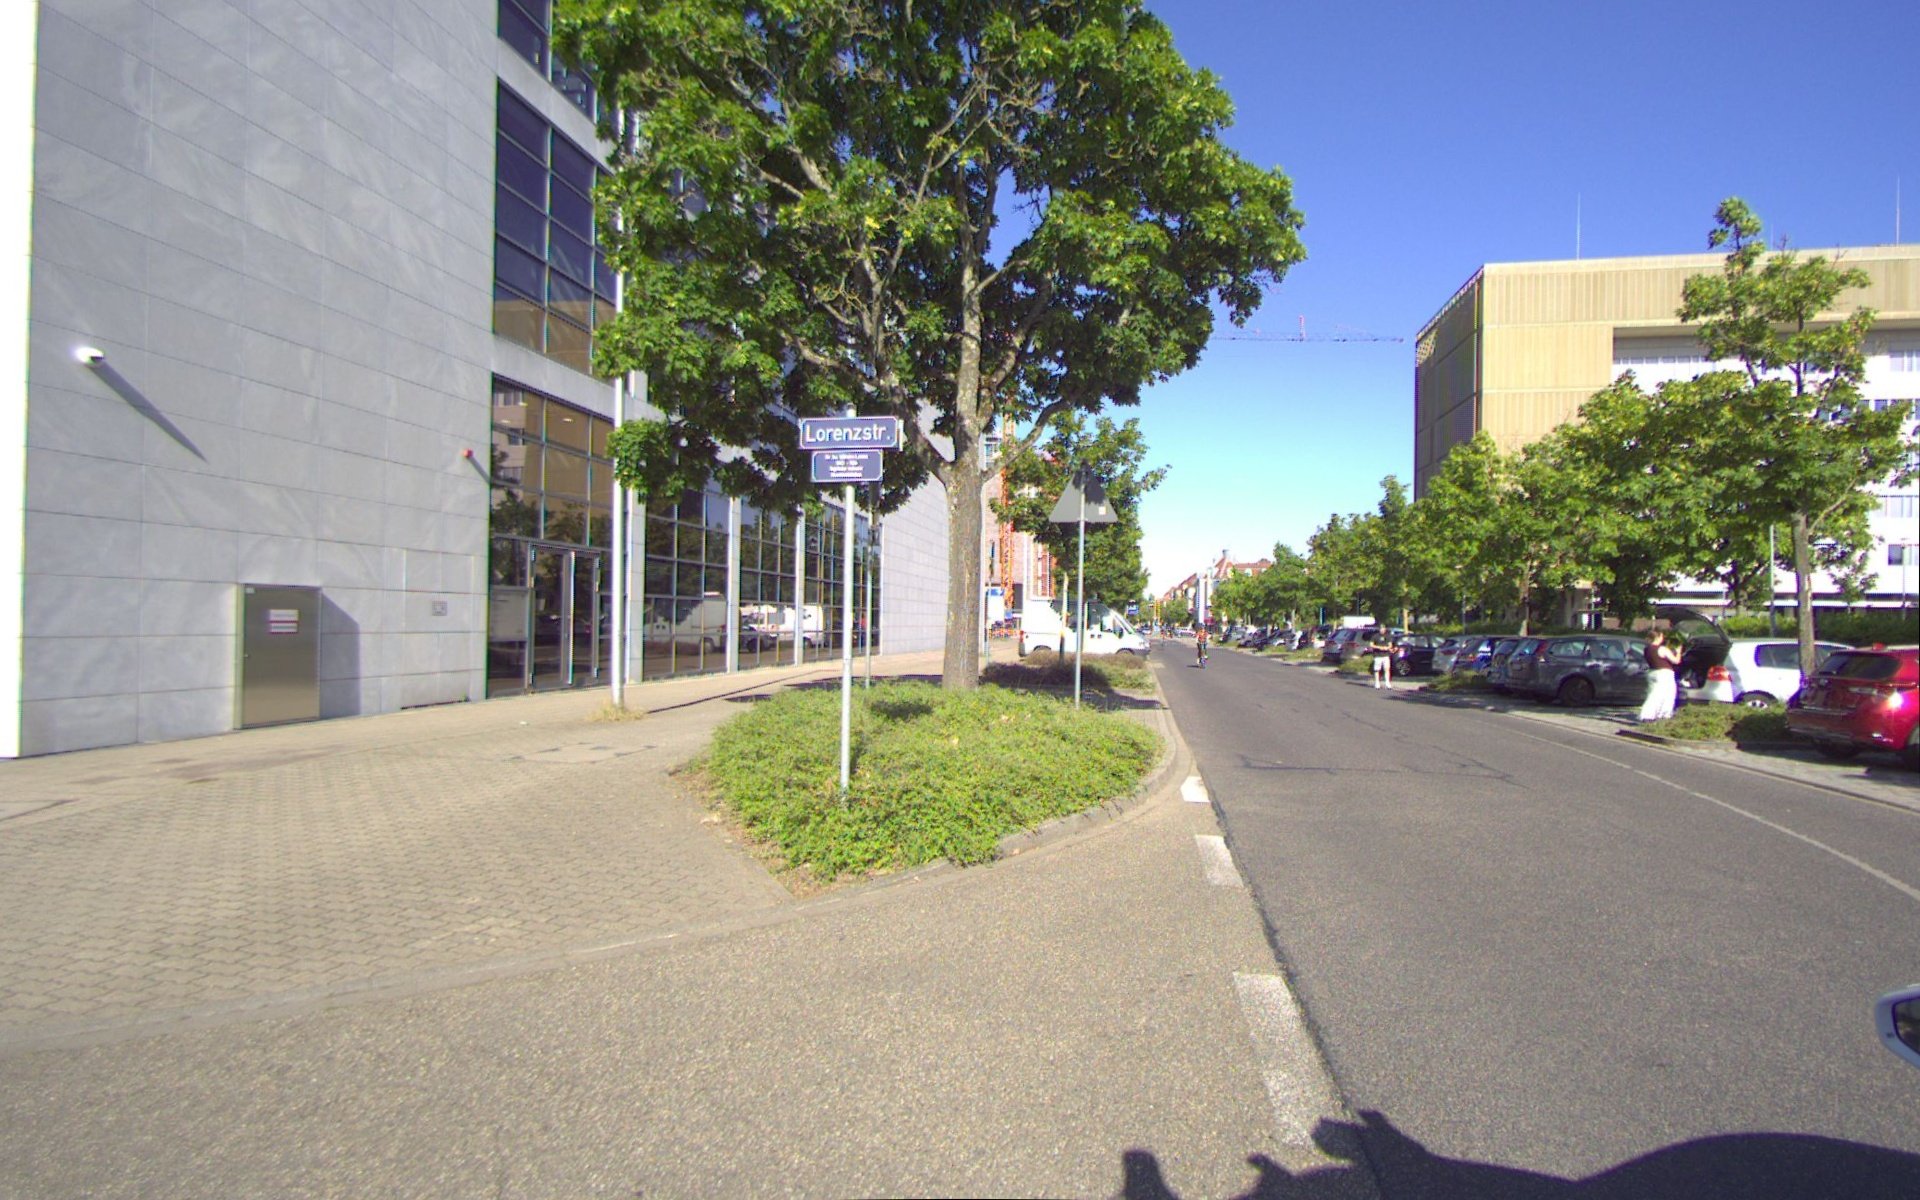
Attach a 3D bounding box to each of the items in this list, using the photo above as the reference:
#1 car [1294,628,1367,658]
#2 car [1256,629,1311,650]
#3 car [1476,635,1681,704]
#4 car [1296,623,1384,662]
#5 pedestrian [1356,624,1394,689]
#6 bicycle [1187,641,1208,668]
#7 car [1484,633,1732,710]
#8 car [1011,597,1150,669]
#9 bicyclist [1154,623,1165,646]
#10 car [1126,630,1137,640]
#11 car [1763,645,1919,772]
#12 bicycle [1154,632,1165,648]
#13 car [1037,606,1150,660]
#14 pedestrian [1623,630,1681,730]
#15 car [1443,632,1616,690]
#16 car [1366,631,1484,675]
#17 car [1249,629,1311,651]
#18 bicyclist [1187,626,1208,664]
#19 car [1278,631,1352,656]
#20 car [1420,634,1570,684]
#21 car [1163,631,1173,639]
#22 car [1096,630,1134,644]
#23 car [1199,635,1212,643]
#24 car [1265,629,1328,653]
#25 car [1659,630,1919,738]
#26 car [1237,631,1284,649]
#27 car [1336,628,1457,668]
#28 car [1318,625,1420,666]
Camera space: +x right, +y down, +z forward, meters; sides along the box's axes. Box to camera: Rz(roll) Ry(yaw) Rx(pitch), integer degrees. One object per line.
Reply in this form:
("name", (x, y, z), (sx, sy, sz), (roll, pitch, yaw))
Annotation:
("car", (20.816, 2.402, 56.506), (3.544, 1.570, 1.708), (0, 0, 9))
("car", (25.512, 3.125, 79.391), (3.919, 1.558, 1.863), (0, -2, 11))
("car", (14.609, 1.614, 23.910), (3.832, 1.487, 1.622), (0, 0, 9))
("car", (20.355, 2.262, 53.934), (4.048, 1.953, 1.980), (0, 0, 9))
("pedestrian", (11.718, 1.573, 28.367), (0.706, 1.794, 1.169), (-1, -2, 9))
("bicycle", (9.367, 2.142, 39.611), (0.744, 1.015, 1.873), (-1, -2, 12))
("car", (13.754, 1.486, 21.553), (4.114, 1.540, 1.738), (0, -1, 9))
("car", (4.739, 1.258, 39.186), (5.159, 2.450, 2.124), (3, -1, 11))
("bicyclist", (14.544, 2.506, 73.133), (0.672, 1.601, 1.062), (-1, -2, 15))
("car", (28.159, 5.788, 165.326), (1.781, 1.494, 4.113), (0, -1, 9))
("car", (12.375, 1.290, 12.146), (3.832, 1.445, 1.674), (0, -2, 9))
("bicycle", (14.531, 2.893, 73.074), (0.686, 1.125, 2.080), (-1, -2, 15))
("car", (6.787, 1.626, 50.959), (5.456, 2.442, 1.989), (2, -1, 12))
("pedestrian", (11.707, 1.331, 16.989), (0.755, 1.600, 0.671), (1, 0, 39))
("car", (15.835, 1.661, 28.129), (3.828, 1.517, 1.843), (0, -1, 12))
("car", (16.323, 1.865, 35.391), (3.394, 1.508, 1.748), (-1, -2, 9))
("car", (23.269, 2.900, 73.090), (4.073, 1.601, 1.742), (0, -1, 9))
("bicyclist", (9.380, 1.769, 39.643), (0.744, 1.450, 1.133), (-1, -1, 12))
("car", (21.520, 2.632, 61.052), (3.992, 1.444, 1.743), (-1, -2, 12))
("car", (16.243, 1.777, 30.656), (3.669, 1.435, 1.843), (0, -1, 12))
("car", (39.499, 6.637, 190.652), (1.781, 1.494, 4.113), (0, -1, 11))
("car", (17.589, 4.210, 114.175), (4.257, 1.494, 1.819), (0, 0, 7))
("car", (47.150, 7.505, 193.159), (1.955, 1.494, 4.113), (0, -1, 8))
("car", (22.697, 2.762, 67.818), (3.834, 1.506, 1.744), (0, -1, 10))
("car", (14.035, 1.335, 16.512), (3.832, 1.599, 1.681), (0, 0, 9))
("car", (25.993, 3.430, 87.051), (3.701, 1.478, 1.819), (0, -2, 10))
("car", (18.119, 1.984, 41.889), (4.246, 1.629, 1.913), (0, -1, 7))
("car", (18.005, 1.979, 44.394), (3.832, 1.718, 1.941), (0, 0, 9))
